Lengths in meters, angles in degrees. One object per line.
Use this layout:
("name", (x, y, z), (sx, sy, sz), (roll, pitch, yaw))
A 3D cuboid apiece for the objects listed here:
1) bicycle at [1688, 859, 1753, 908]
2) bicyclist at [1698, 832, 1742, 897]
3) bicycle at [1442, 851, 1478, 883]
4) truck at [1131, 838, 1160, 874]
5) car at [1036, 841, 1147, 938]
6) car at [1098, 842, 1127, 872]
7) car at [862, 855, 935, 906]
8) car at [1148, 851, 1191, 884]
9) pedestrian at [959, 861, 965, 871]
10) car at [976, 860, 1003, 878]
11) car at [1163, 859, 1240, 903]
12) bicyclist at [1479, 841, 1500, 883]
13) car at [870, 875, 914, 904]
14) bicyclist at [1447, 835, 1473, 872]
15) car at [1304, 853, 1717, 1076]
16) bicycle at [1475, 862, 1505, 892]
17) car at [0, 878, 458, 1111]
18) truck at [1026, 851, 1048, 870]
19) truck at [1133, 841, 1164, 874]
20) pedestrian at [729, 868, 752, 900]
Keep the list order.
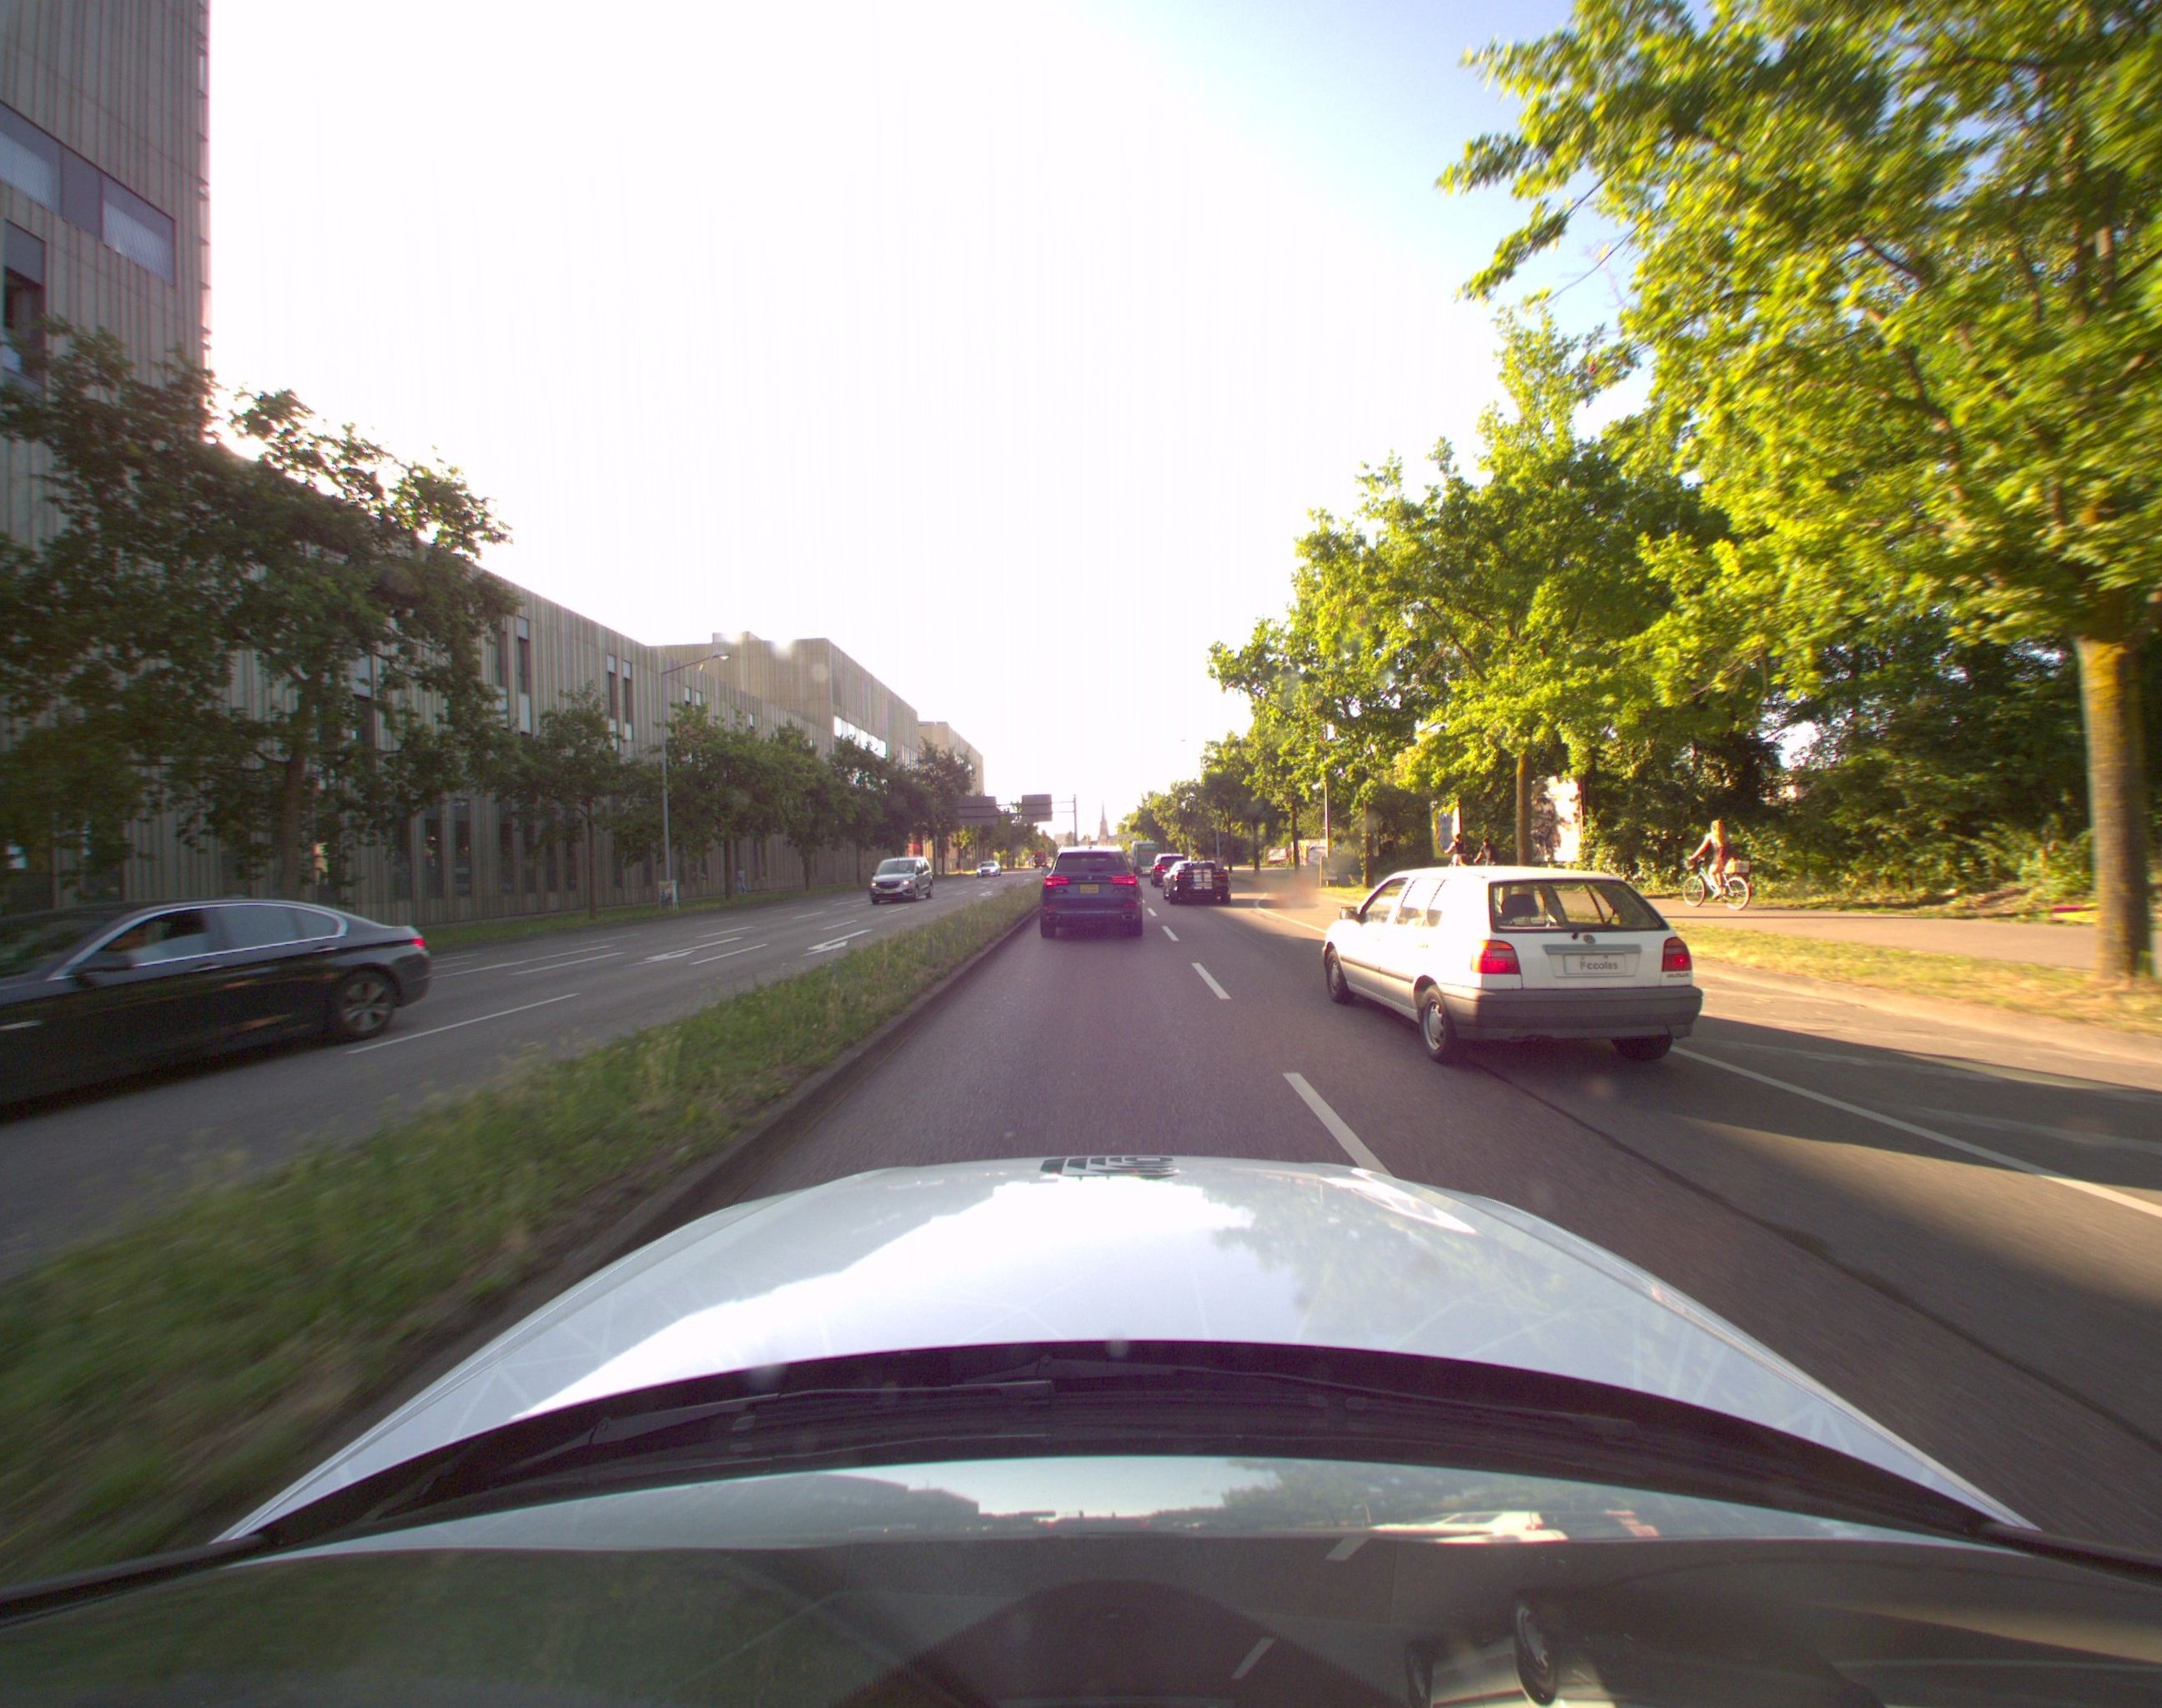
("bicycle", (12.560, 0.568, 16.028), (0.436, 0.914, 1.027), (-4, -2, 2))
("bicyclist", (12.555, 0.209, 16.005), (0.426, 1.233, 0.460), (-2, -2, 1))
("bicycle", (13.677, 0.473, 29.401), (0.562, 1.112, 1.622), (-1, -1, 2))
("truck", (4.953, 0.196, 63.191), (1.988, 2.669, 4.001), (-1, -1, 2))
("car", (0.260, 0.686, 17.009), (1.986, 1.734, 4.534), (-1, -1, 2))
("car", (2.847, 0.324, 75.086), (2.132, 2.576, 5.080), (-1, -1, -3))
("car", (-7.368, 1.064, 33.355), (1.751, 1.777, 4.494), (-6, -1, 0))
("car", (4.339, 0.677, 40.245), (1.789, 1.559, 4.001), (-1, -1, 2))
("pedestrian", (-18.097, 1.824, 123.941), (0.624, 1.522, 0.719), (-1, -2, 4))
("car", (-8.795, 1.454, 78.614), (1.987, 1.452, 4.714), (-6, -1, 0))
("car", (3.775, 0.840, 26.221), (1.986, 1.295, 4.001), (-1, -1, 2))
("bicyclist", (12.860, 0.256, 25.648), (0.426, 1.309, 0.460), (-1, -2, 2))
("car", (-12.795, 2.361, 55.396), (1.751, 1.705, 4.494), (-6, -1, 0))
("bicyclist", (13.671, -0.003, 29.387), (0.541, 1.316, 0.835), (-1, -2, 1))
("car", (3.318, 0.754, 7.276), (1.573, 1.413, 4.062), (-1, -1, 1))
("bicycle", (12.858, 0.733, 25.632), (0.436, 0.914, 1.027), (-1, -1, 2))
("car", (-7.874, 1.039, 6.490), (1.987, 1.452, 4.798), (-6, -1, 0))
("truck", (-9.445, 1.480, 177.927), (3.975, 4.088, 11.448), (-1, -1, 1))
("truck", (4.794, 0.291, 58.437), (1.988, 2.315, 4.001), (-1, -1, 2))
("pedestrian", (-21.594, 1.891, 51.606), (1.015, 2.014, 0.962), (-1, -2, 1))
